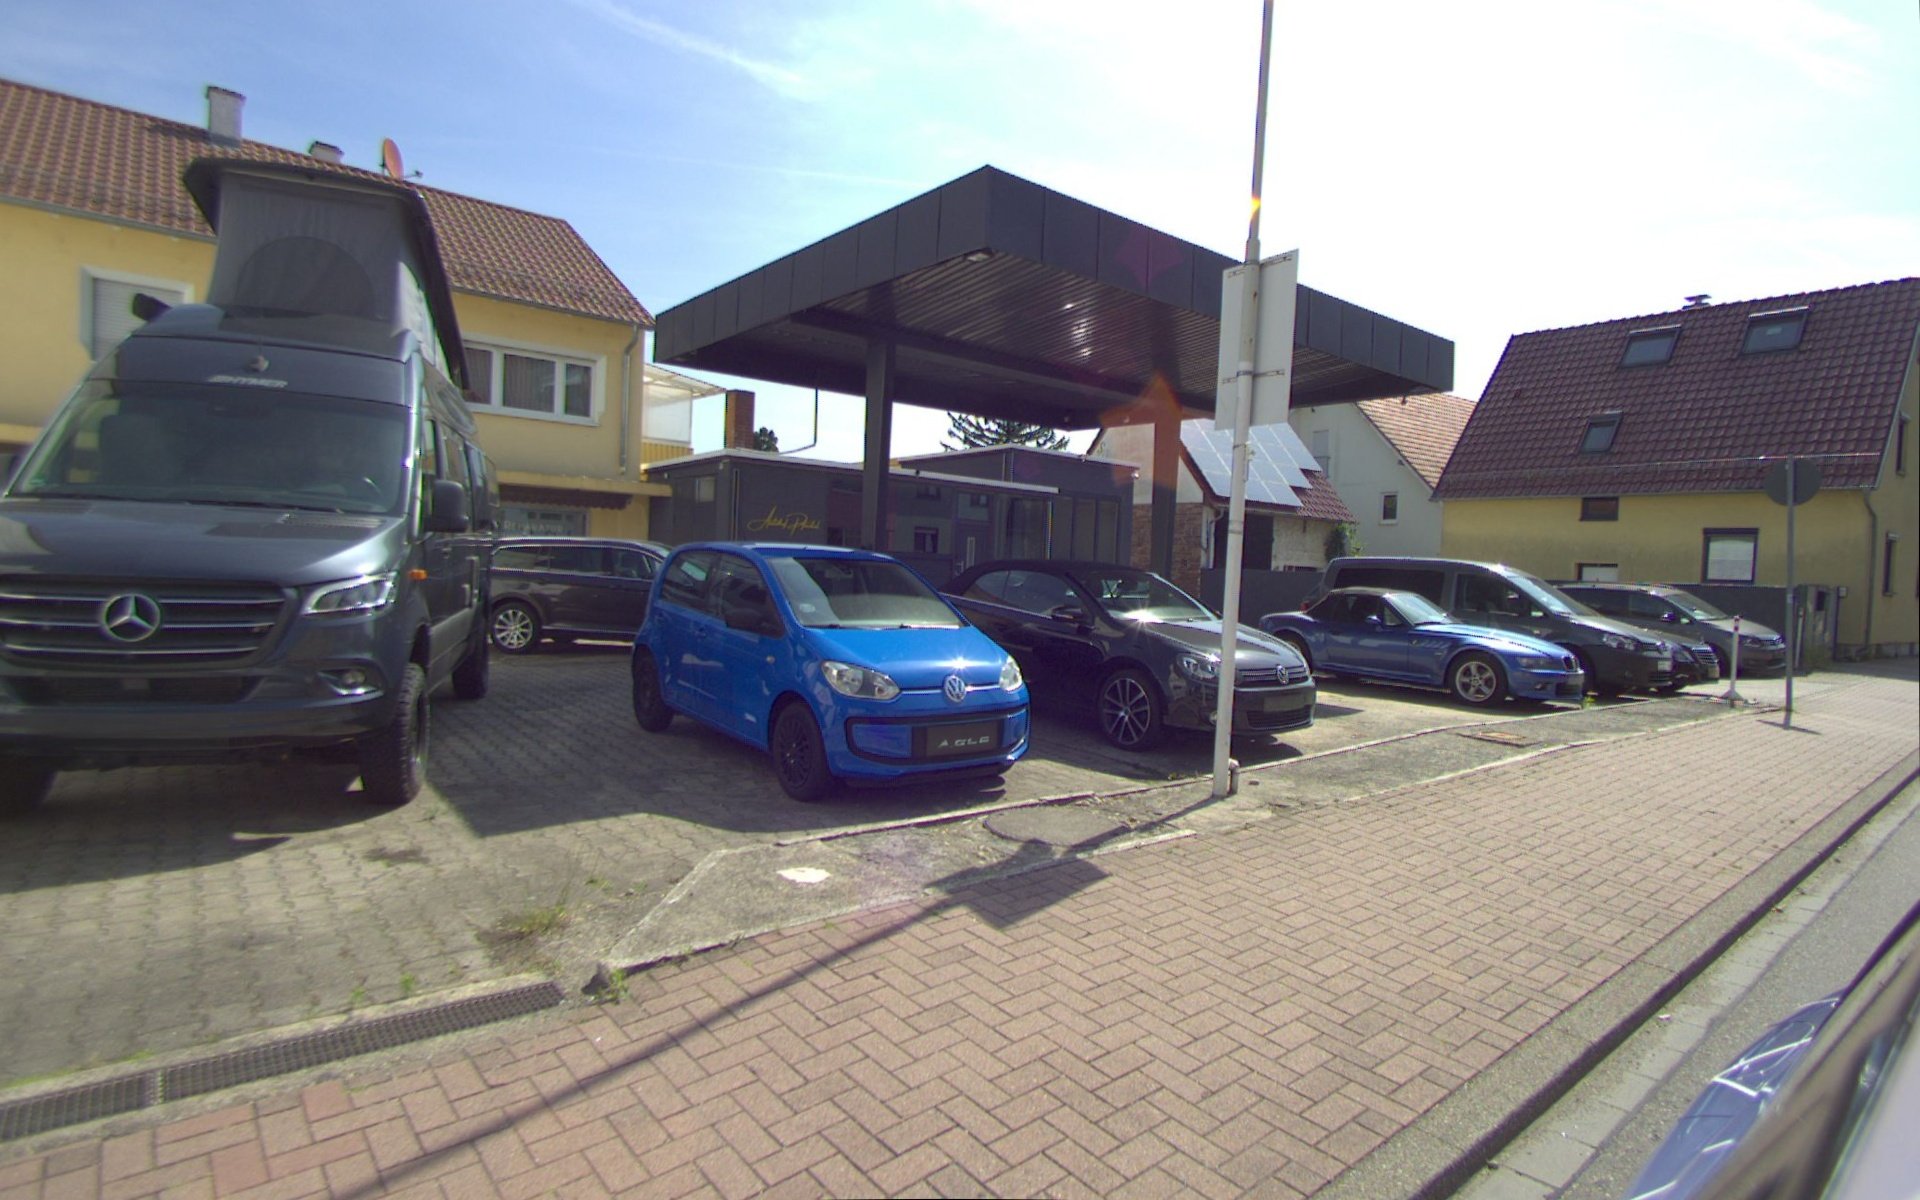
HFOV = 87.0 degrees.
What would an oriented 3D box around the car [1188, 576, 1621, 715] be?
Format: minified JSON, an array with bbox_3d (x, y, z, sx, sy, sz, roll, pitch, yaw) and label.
[{"bbox_3d":[5.254,0.417,12.569,1.929,1.283,4.553,1,2,-36],"label":"car"}]

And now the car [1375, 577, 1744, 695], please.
[{"bbox_3d":[9.258,0.452,16.031,1.875,1.516,4.650,1,2,-36],"label":"car"}]

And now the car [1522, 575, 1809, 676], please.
[{"bbox_3d":[13.792,0.441,20.071,1.703,1.767,4.344,-1,0,-33],"label":"car"}]

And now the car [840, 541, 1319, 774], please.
[{"bbox_3d":[0.751,0.284,8.747,1.695,1.499,4.174,1,2,-36],"label":"car"}]

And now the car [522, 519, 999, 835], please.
[{"bbox_3d":[-1.598,0.283,6.913,1.554,1.547,3.809,1,2,-39],"label":"car"}]

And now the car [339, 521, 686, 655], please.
[{"bbox_3d":[-5.775,-0.153,13.385,3.798,1.544,1.727,2,0,1],"label":"car"}]

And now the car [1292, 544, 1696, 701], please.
[{"bbox_3d":[7.297,0.170,14.315,1.929,1.832,4.650,0,2,-36],"label":"car"}]

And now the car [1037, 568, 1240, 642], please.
[{"bbox_3d":[3.886,0.076,21.523,4.668,1.363,1.761,0,2,-43],"label":"car"}]

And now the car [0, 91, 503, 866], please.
[{"bbox_3d":[-4.609,-0.594,6.838,2.268,3.023,5.994,1,2,-20],"label":"car"}]
